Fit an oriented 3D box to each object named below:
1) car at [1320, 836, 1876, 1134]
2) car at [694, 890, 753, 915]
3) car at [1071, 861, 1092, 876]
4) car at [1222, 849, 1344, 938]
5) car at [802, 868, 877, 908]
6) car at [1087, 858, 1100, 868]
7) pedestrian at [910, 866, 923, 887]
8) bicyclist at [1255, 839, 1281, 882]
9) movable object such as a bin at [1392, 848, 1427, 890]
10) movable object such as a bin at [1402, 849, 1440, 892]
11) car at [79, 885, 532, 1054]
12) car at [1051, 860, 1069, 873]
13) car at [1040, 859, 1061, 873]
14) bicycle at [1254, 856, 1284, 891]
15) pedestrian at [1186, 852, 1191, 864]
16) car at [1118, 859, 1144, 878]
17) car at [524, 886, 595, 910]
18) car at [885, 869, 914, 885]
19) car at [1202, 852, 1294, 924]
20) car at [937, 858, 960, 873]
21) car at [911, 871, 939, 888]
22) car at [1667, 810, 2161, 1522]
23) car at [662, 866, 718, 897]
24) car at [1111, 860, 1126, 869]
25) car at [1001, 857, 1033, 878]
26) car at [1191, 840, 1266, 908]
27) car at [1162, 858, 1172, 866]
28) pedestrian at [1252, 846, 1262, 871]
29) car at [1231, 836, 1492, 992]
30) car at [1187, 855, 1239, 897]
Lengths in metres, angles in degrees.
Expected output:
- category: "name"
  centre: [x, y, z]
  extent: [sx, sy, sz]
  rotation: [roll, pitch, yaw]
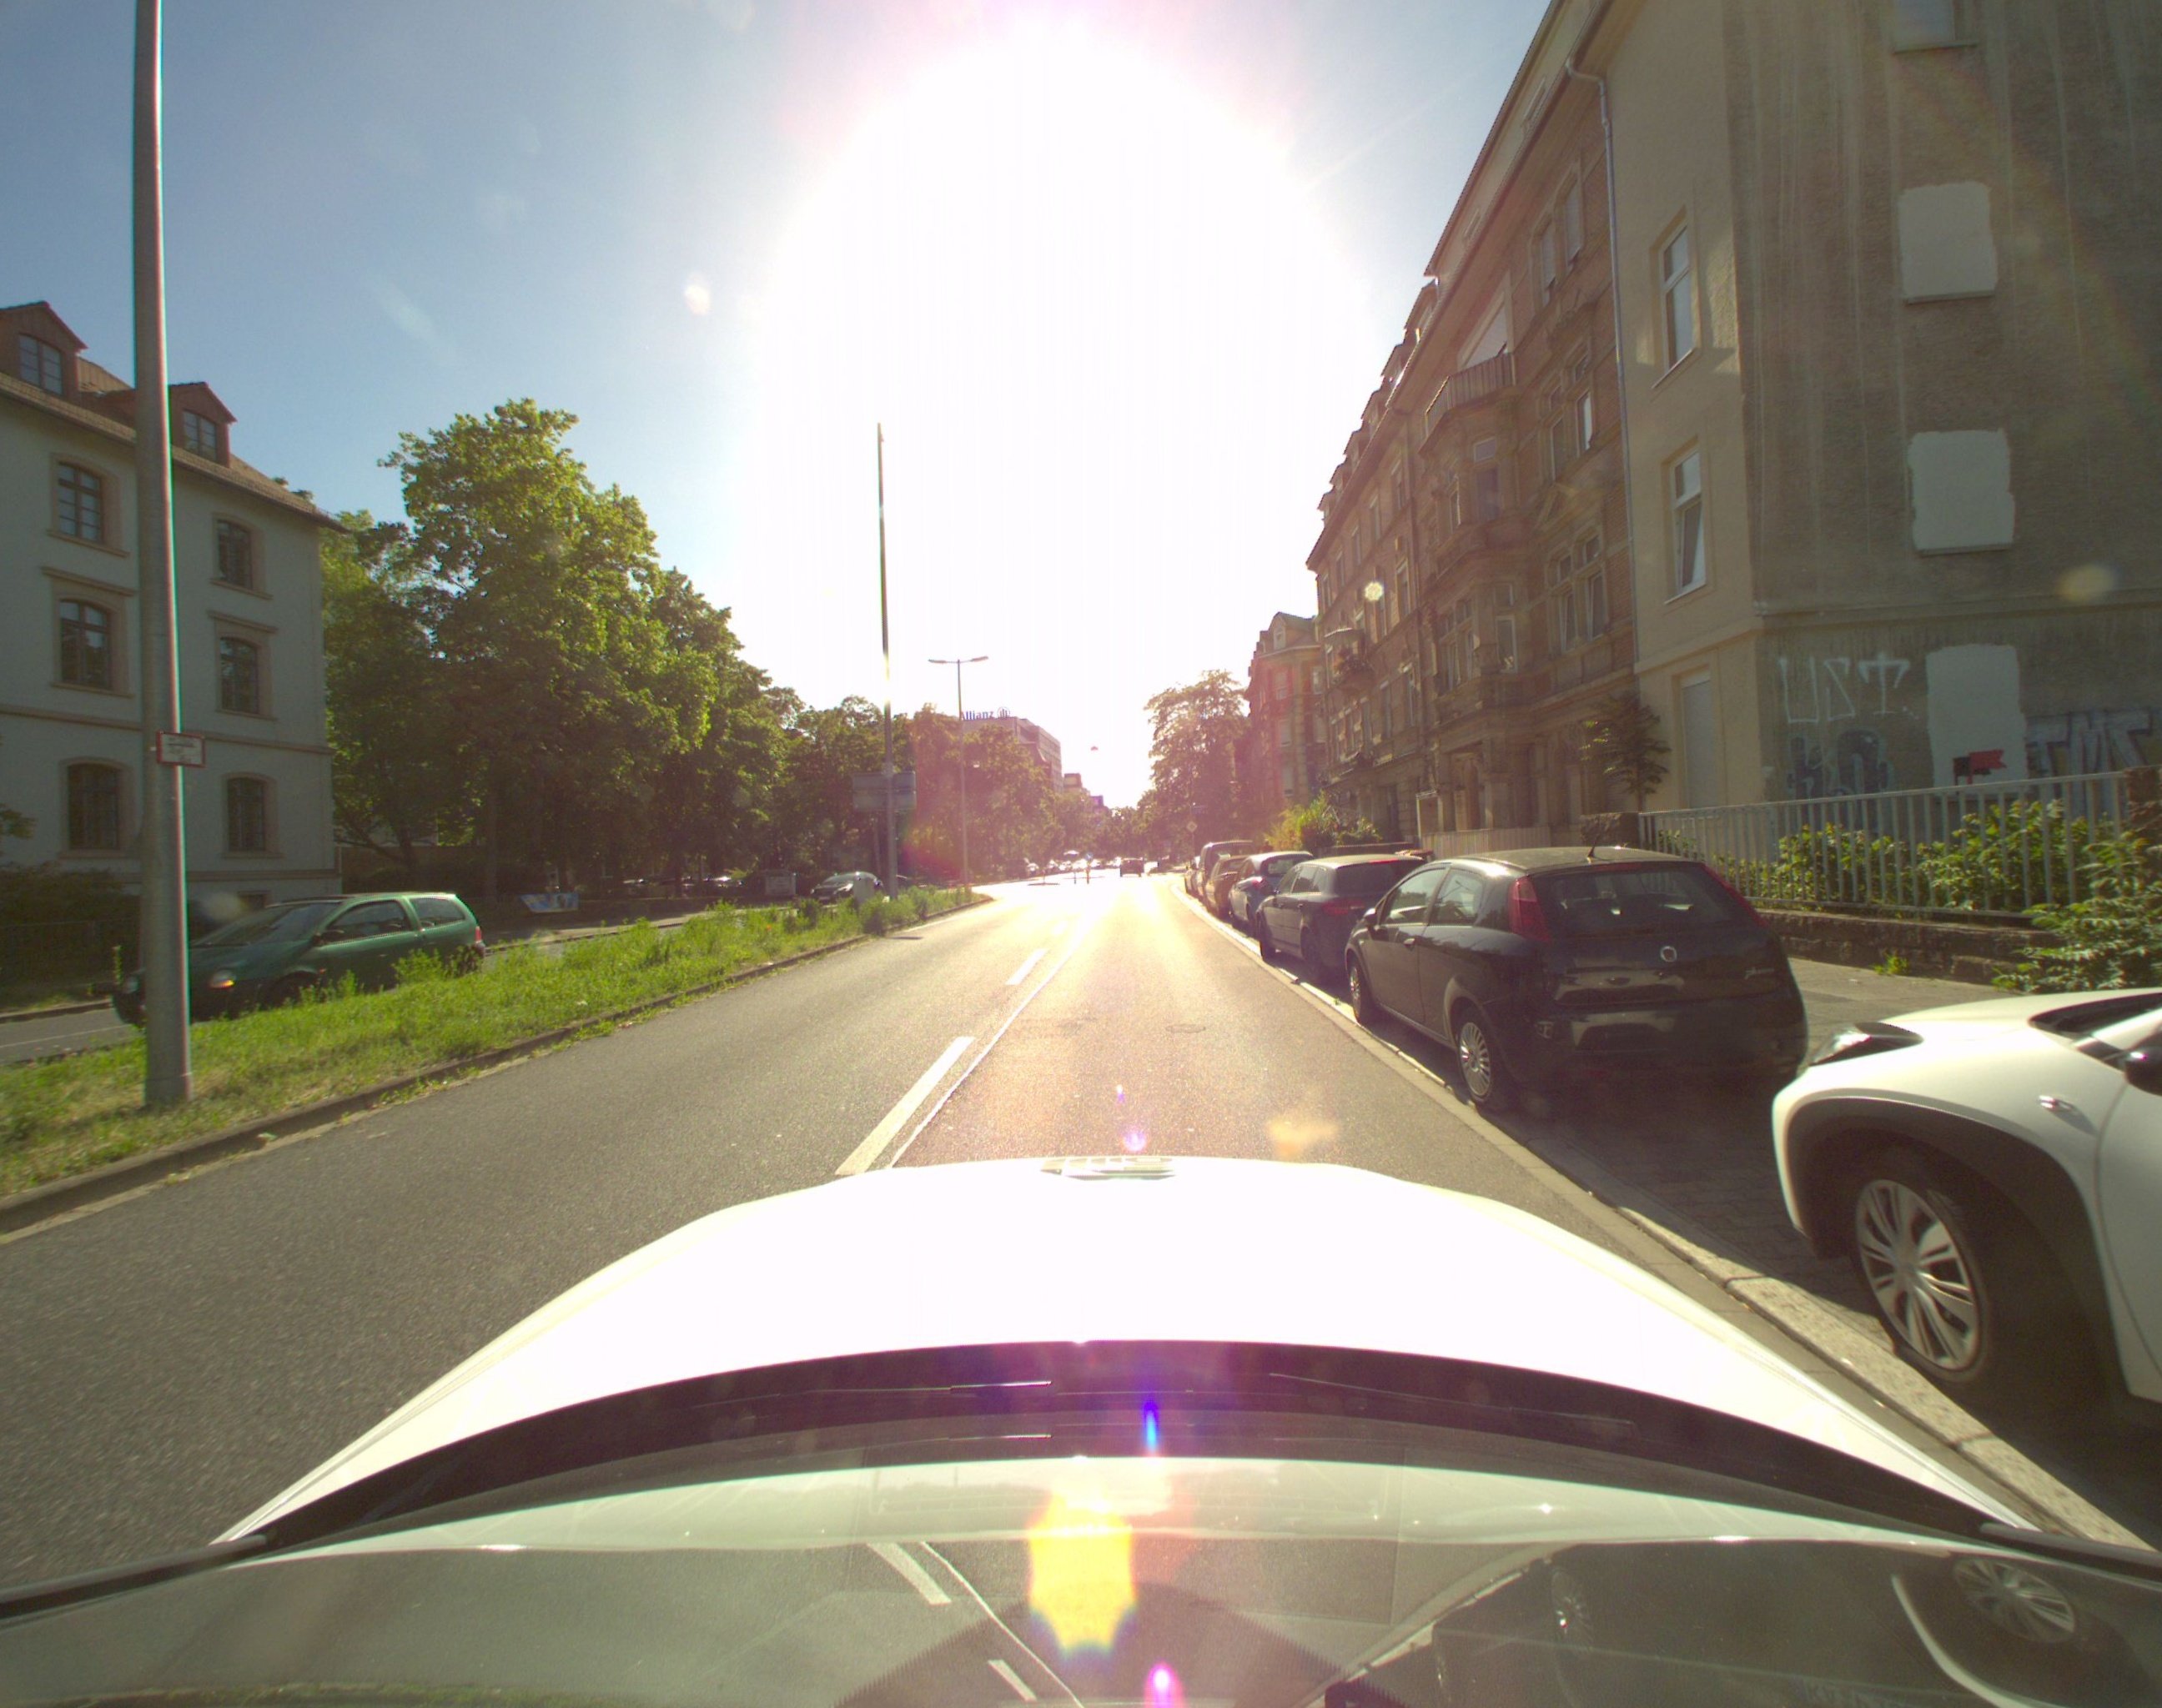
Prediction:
- category: "car"
  centre: [3.111, 0.649, 5.919]
  extent: [1.662, 1.393, 3.776]
  rotation: [-3, 0, 1]
- category: "car"
  centre: [-22.948, 3.120, 52.473]
  extent: [1.838, 1.491, 4.003]
  rotation: [-2, -3, 3]
- category: "car"
  centre: [0.070, 1.633, 95.089]
  extent: [1.748, 1.519, 3.870]
  rotation: [-4, 0, 10]
- category: "car"
  centre: [3.822, 0.686, 15.927]
  extent: [1.615, 1.470, 3.300]
  rotation: [-3, 0, 2]
- category: "car"
  centre: [-10.454, 1.423, 35.553]
  extent: [1.789, 1.519, 4.425]
  rotation: [-2, 0, 2]
- category: "car"
  centre: [2.112, 1.457, 132.712]
  extent: [1.793, 1.504, 3.812]
  rotation: [-3, 0, 4]
- category: "pedestrian"
  centre: [-13.545, 1.860, 66.876]
  extent: [0.662, 1.626, 0.720]
  rotation: [-3, -1, 36]
- category: "bicyclist"
  centre: [7.051, 0.245, 30.763]
  extent: [0.738, 1.580, 1.102]
  rotation: [-2, 1, 4]
- category: "movable object such as a bin"
  centre: [9.410, 0.439, 23.344]
  extent: [0.719, 1.157, 0.609]
  rotation: [-2, -3, 4]
- category: "movable object such as a bin"
  centre: [9.373, 0.470, 22.464]
  extent: [0.755, 1.157, 0.609]
  rotation: [-2, -3, 4]
- category: "car"
  centre: [-9.420, 1.266, 10.510]
  extent: [1.632, 1.519, 4.259]
  rotation: [-3, 0, 2]
- category: "car"
  centre: [-2.533, 1.556, 100.275]
  extent: [1.514, 1.432, 3.347]
  rotation: [-3, 0, 10]
- category: "car"
  centre: [-3.578, 1.386, 95.409]
  extent: [1.513, 1.432, 3.565]
  rotation: [-3, 0, 12]
- category: "bicycle"
  centre: [7.102, 0.731, 30.789]
  extent: [0.737, 1.219, 1.962]
  rotation: [-5, -1, 4]
- category: "pedestrian"
  centre: [17.423, 0.662, 131.803]
  extent: [0.612, 2.013, 0.681]
  rotation: [-3, -1, 3]
- category: "car"
  centre: [4.062, 1.145, 67.001]
  extent: [1.888, 1.519, 3.999]
  rotation: [-1, 0, 0]
- category: "car"
  centre: [-33.981, 2.879, 53.177]
  extent: [1.838, 1.491, 4.003]
  rotation: [-2, -3, 3]
- category: "car"
  centre: [-19.692, 2.492, 88.183]
  extent: [1.987, 1.662, 3.963]
  rotation: [-3, 0, -28]
- category: "car"
  centre: [3.955, 0.738, 19.883]
  extent: [1.660, 1.468, 4.280]
  rotation: [-3, 0, 5]
- category: "car"
  centre: [-15.200, 1.301, 93.095]
  extent: [1.980, 1.662, 3.976]
  rotation: [-2, 0, -17]
- category: "car"
  centre: [-17.499, 2.844, 91.235]
  extent: [1.986, 1.662, 3.965]
  rotation: [-3, 0, -27]
- category: "car"
  centre: [3.129, 0.640, 1.306]
  extent: [1.663, 1.519, 3.660]
  rotation: [-3, 0, -1]
- category: "car"
  centre: [-31.513, 2.283, 65.810]
  extent: [1.837, 2.324, 4.988]
  rotation: [-1, -4, 4]
- category: "car"
  centre: [6.031, 1.733, 131.382]
  extent: [1.773, 1.460, 4.428]
  rotation: [-2, -1, 11]
- category: "car"
  centre: [-6.192, 1.285, 78.955]
  extent: [2.188, 1.929, 4.869]
  rotation: [-3, 0, 5]
- category: "car"
  centre: [4.457, 0.556, 25.177]
  extent: [1.810, 1.844, 4.370]
  rotation: [-3, 0, 5]
- category: "car"
  centre: [18.462, 1.712, 174.198]
  extent: [1.909, 1.640, 4.010]
  rotation: [-3, 0, 9]
- category: "pedestrian"
  centre: [13.105, 0.320, 60.705]
  extent: [0.652, 1.816, 0.753]
  rotation: [-2, -3, 8]
- category: "car"
  centre: [3.327, 0.626, 10.709]
  extent: [1.928, 1.519, 4.485]
  rotation: [-3, 0, 1]
- category: "car"
  centre: [4.862, 0.765, 30.389]
  extent: [1.700, 1.425, 4.213]
  rotation: [-2, 0, 7]
